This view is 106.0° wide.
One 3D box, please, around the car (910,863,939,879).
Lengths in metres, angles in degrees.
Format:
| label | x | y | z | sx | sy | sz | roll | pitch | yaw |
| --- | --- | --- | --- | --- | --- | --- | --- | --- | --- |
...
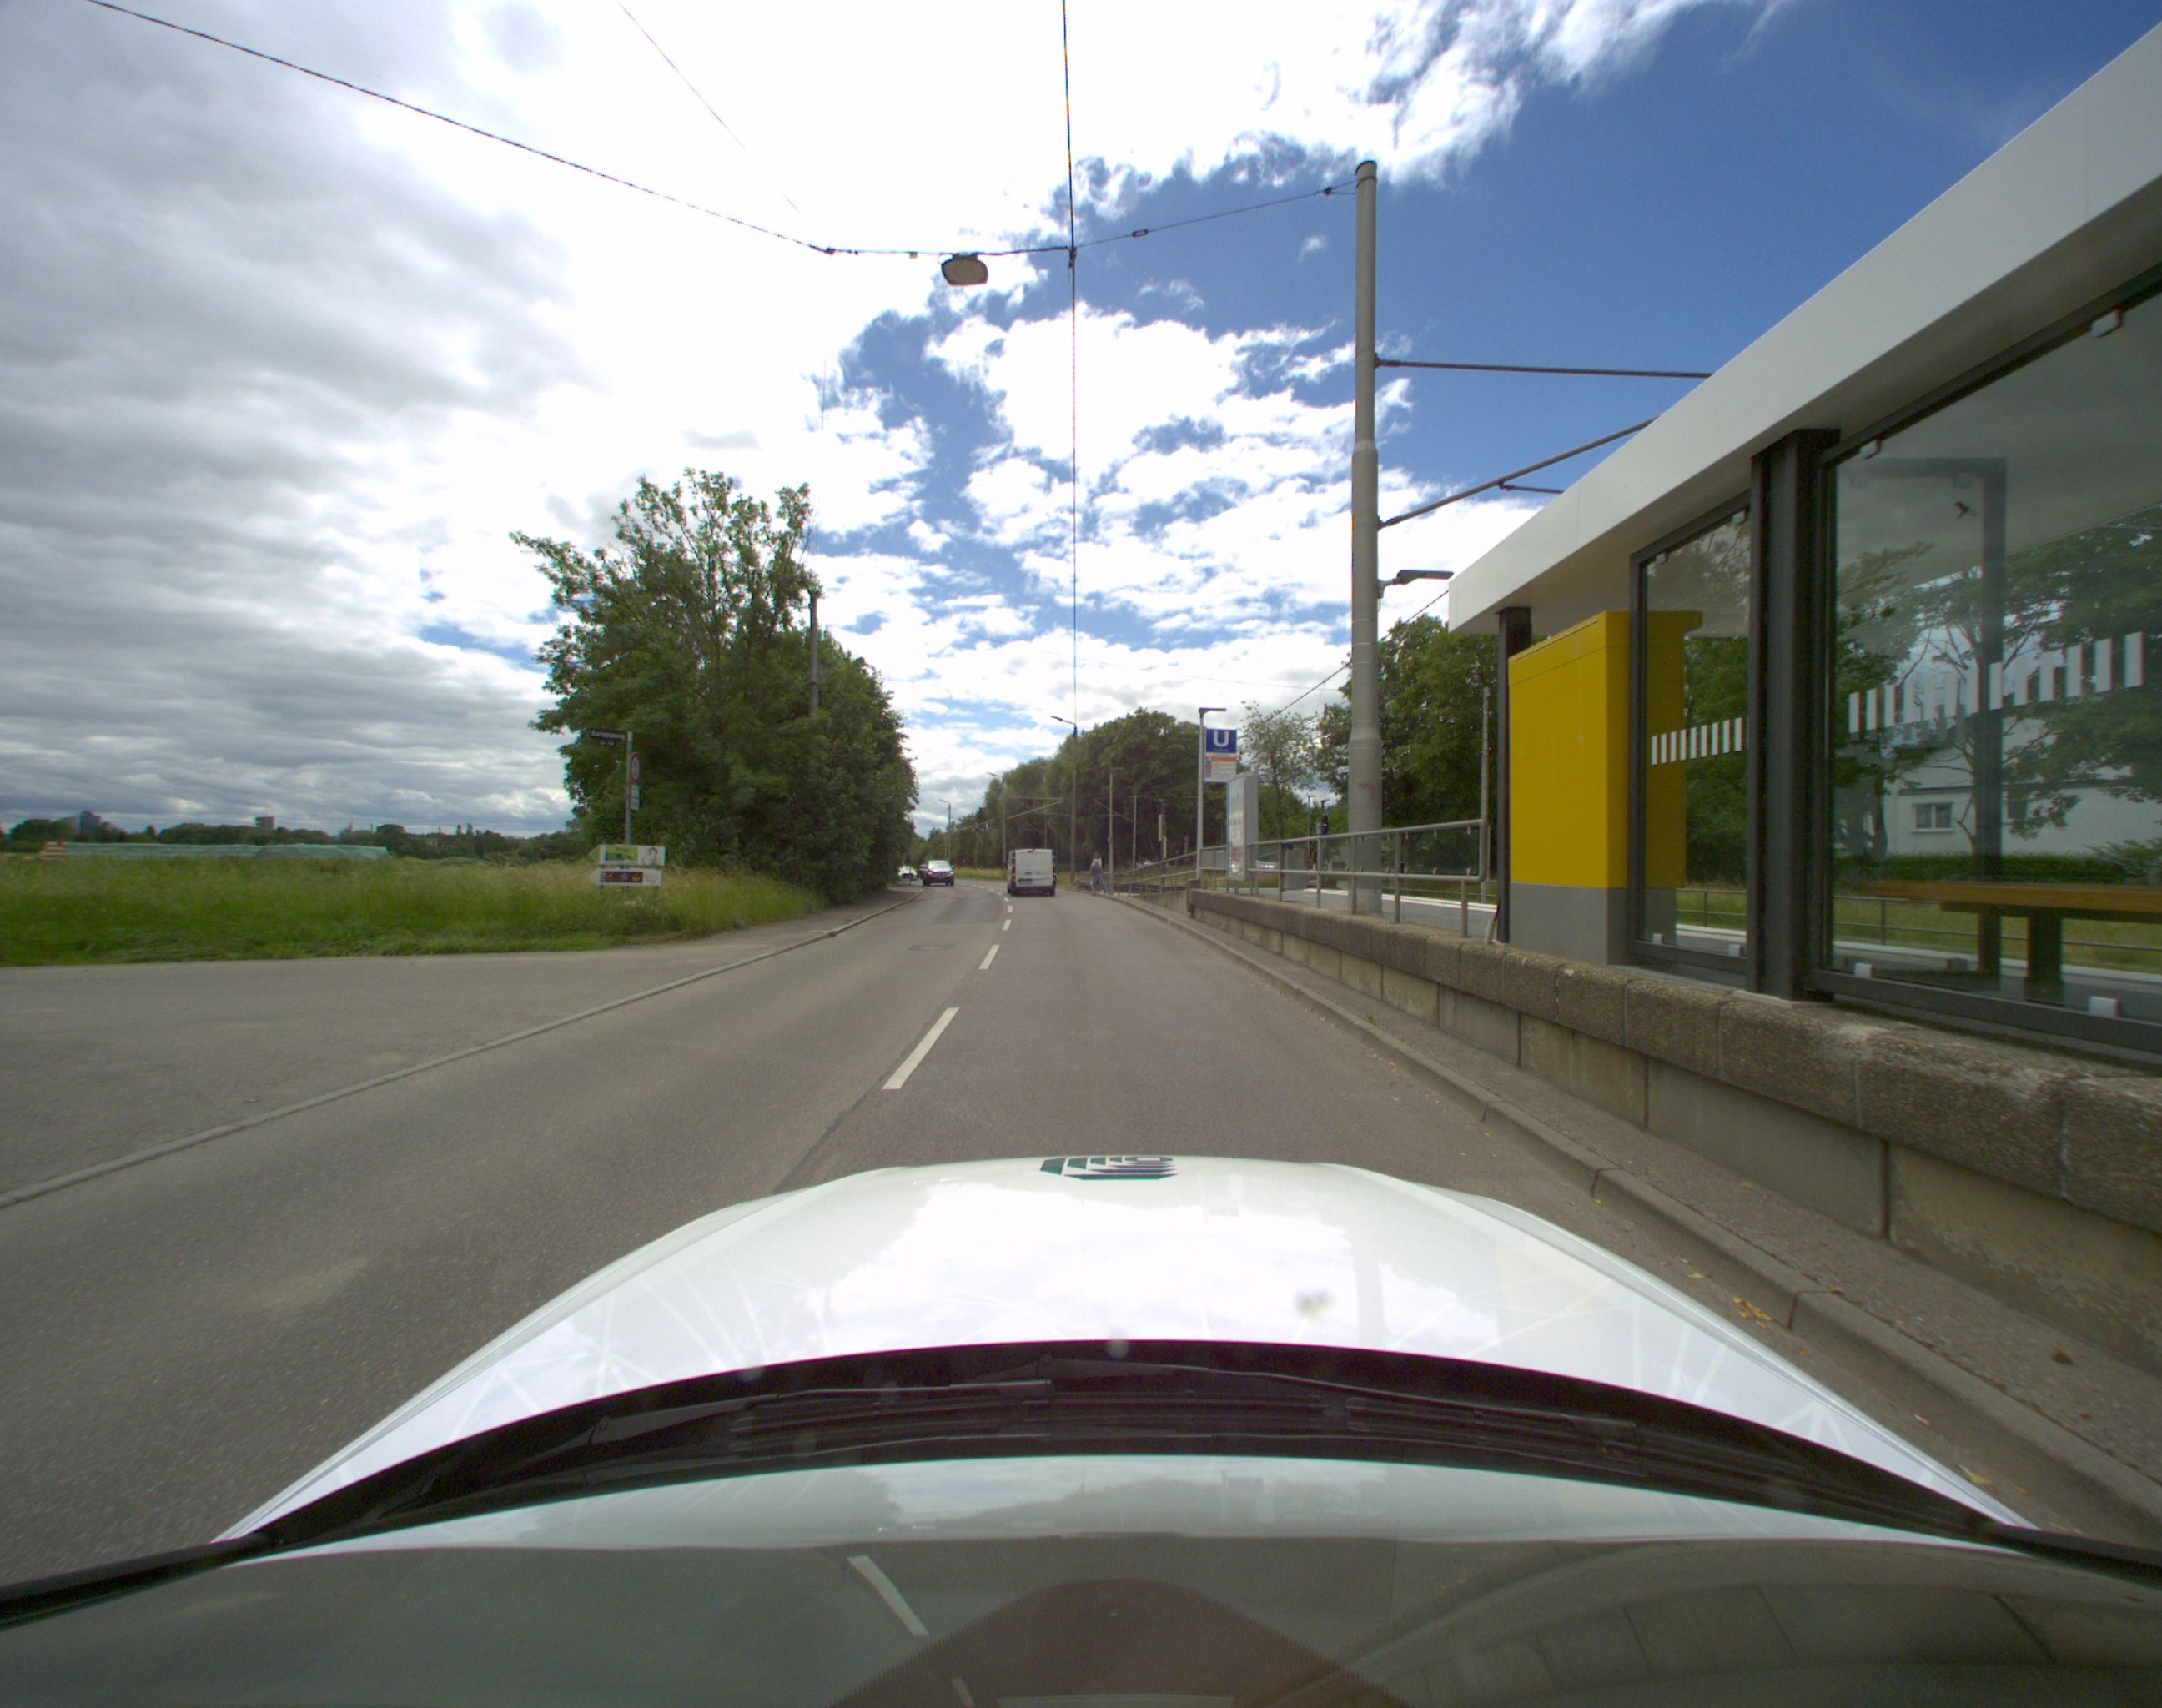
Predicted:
| label | x | y | z | sx | sy | sz | roll | pitch | yaw |
| --- | --- | --- | --- | --- | --- | --- | --- | --- | --- |
| car | -17.489 | 1.887 | 90.773 | 2.364 | 1.564 | 4.340 | 2 | -1 | -22 |

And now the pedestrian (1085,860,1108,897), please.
| label | x | y | z | sx | sy | sz | roll | pitch | yaw |
| --- | --- | --- | --- | --- | --- | --- | --- | --- | --- |
| pedestrian | 0.655 | 1.013 | 33.747 | 0.762 | 1.492 | 0.626 | 0 | -1 | -25 |

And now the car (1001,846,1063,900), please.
| label | x | y | z | sx | sy | sz | roll | pitch | yaw |
| --- | --- | --- | --- | --- | --- | --- | --- | --- | --- |
| car | -2.236 | 0.815 | 35.601 | 2.116 | 2.134 | 5.423 | 1 | -1 | -9 |

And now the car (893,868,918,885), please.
| label | x | y | z | sx | sy | sz | roll | pitch | yaw |
| --- | --- | --- | --- | --- | --- | --- | --- | --- | --- |
| car | -18.008 | 2.288 | 83.375 | 2.000 | 1.731 | 4.295 | 0 | -1 | -19 |

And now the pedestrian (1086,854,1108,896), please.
| label | x | y | z | sx | sy | sz | roll | pitch | yaw |
| --- | --- | --- | --- | --- | --- | --- | --- | --- | --- |
| pedestrian | 0.700 | 0.882 | 35.166 | 0.762 | 1.795 | 0.626 | 0 | -1 | -25 |

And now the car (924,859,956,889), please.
| label | x | y | z | sx | sy | sz | roll | pitch | yaw |
| --- | --- | --- | --- | --- | --- | --- | --- | --- | --- |
| car | -9.939 | 1.350 | 57.070 | 1.996 | 2.014 | 4.304 | 0 | -1 | -13 |
